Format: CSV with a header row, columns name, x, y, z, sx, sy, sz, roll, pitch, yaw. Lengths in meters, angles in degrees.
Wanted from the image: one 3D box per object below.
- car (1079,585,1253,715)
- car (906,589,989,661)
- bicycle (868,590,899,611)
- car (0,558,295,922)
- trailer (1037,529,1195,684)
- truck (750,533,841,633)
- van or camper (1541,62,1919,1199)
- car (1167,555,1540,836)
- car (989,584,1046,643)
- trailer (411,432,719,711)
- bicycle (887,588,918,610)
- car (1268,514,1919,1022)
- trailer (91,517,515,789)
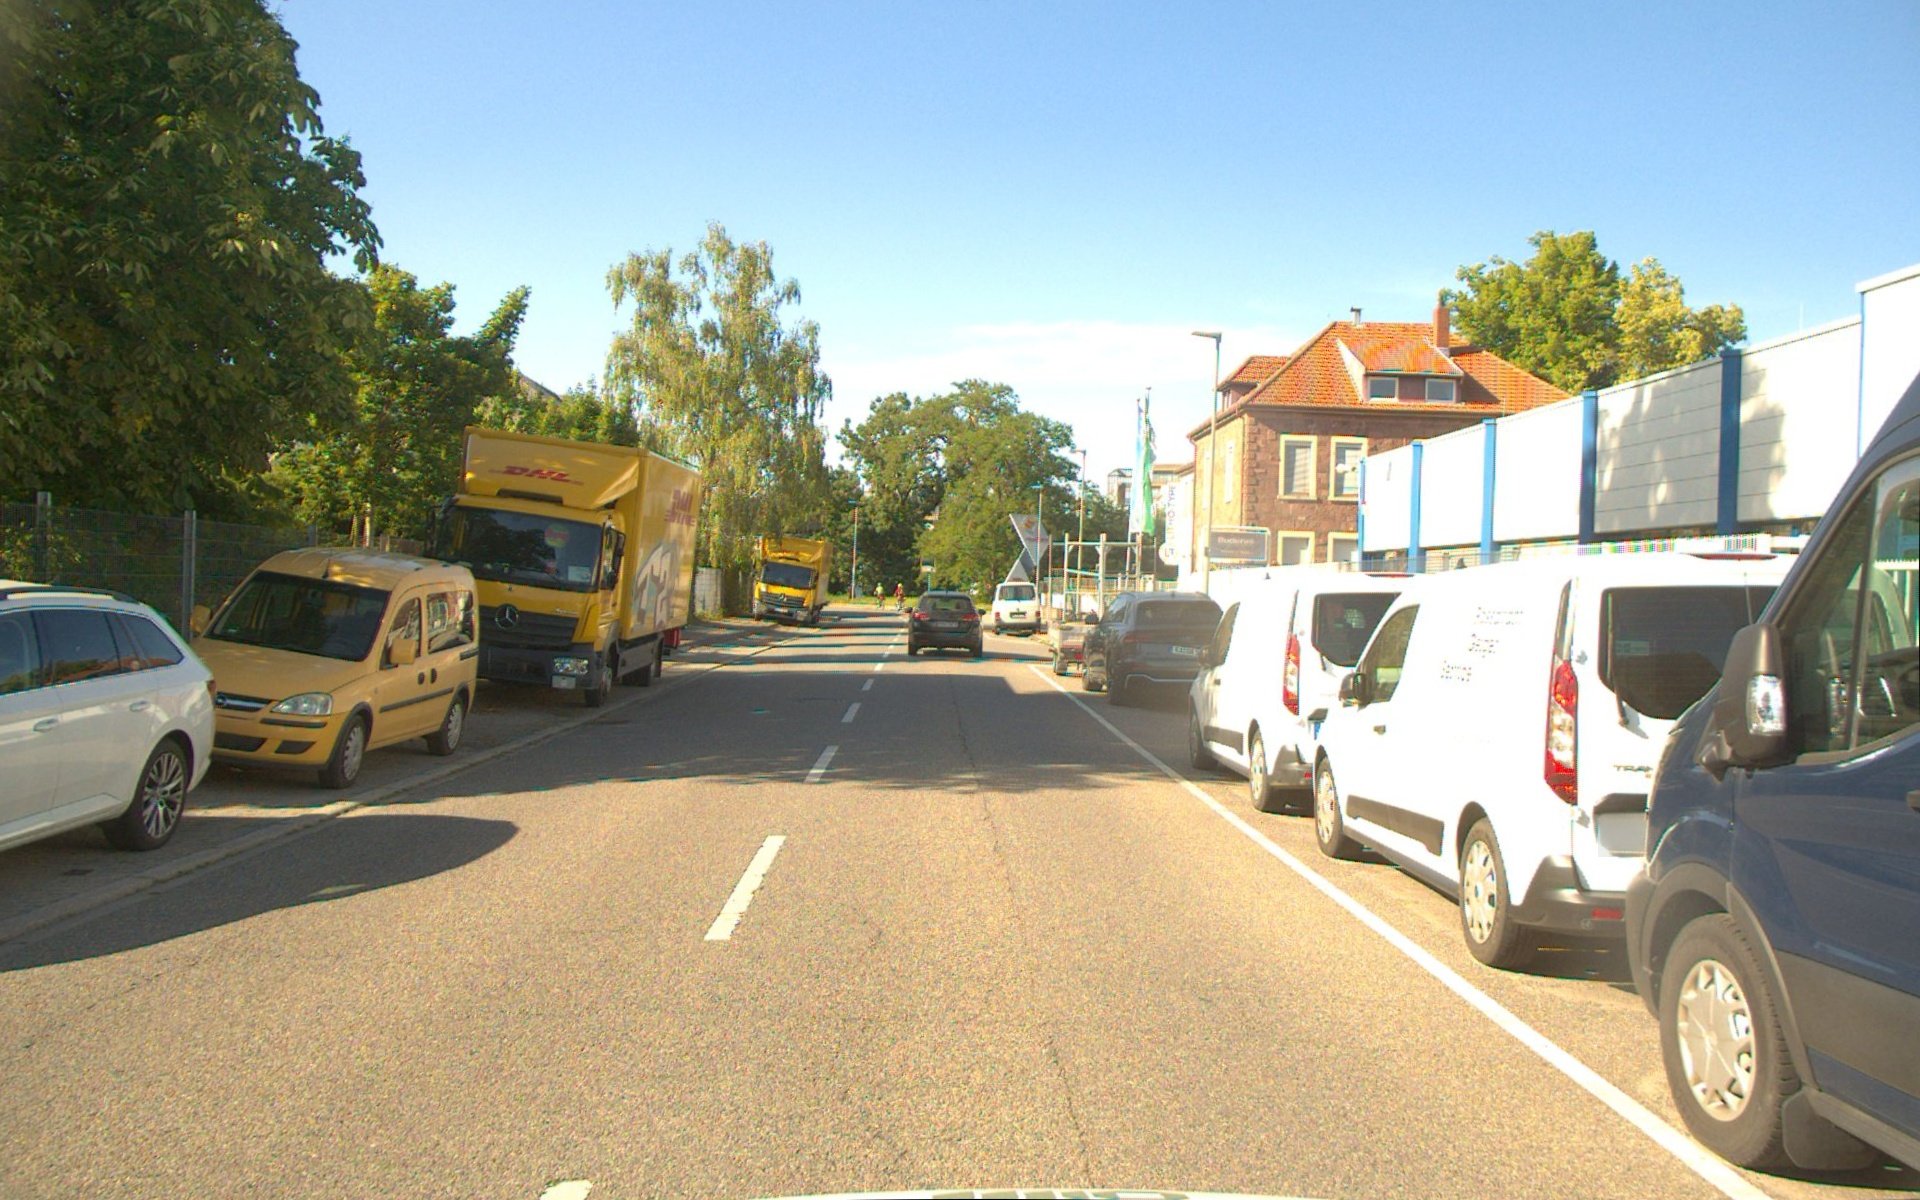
name,x,y,z,sx,sy,sz,roll,pitch,yaw
car,3.062,0.713,25.546,1.954,1.696,4.730,3,0,-1
car,-0.288,0.546,39.011,1.809,1.556,4.000,1,0,0
bicycle,-4.996,0.036,108.017,0.798,1.242,2.226,4,-1,-40
car,-5.459,0.638,8.552,1.870,1.620,5.024,6,0,0
trailer,2.951,0.122,32.627,2.410,2.719,5.700,2,0,-1
truck,-6.744,-0.767,68.963,2.580,3.563,8.656,8,1,-1
van or camper,3.282,0.172,2.977,2.097,2.807,6.160,3,0,-1
car,3.093,0.686,14.207,1.818,1.862,5.167,3,0,-1
car,2.137,0.499,63.029,1.836,2.048,5.159,3,0,-1
trailer,-5.675,-0.358,25.386,2.931,3.503,8.158,2,0,-2
bicycle,-3.665,-0.077,104.633,0.797,1.290,2.231,4,-1,-35
car,3.150,0.677,8.965,1.848,1.879,5.103,3,0,-1
trailer,-5.463,0.397,14.479,1.953,1.975,4.414,1,0,-1
